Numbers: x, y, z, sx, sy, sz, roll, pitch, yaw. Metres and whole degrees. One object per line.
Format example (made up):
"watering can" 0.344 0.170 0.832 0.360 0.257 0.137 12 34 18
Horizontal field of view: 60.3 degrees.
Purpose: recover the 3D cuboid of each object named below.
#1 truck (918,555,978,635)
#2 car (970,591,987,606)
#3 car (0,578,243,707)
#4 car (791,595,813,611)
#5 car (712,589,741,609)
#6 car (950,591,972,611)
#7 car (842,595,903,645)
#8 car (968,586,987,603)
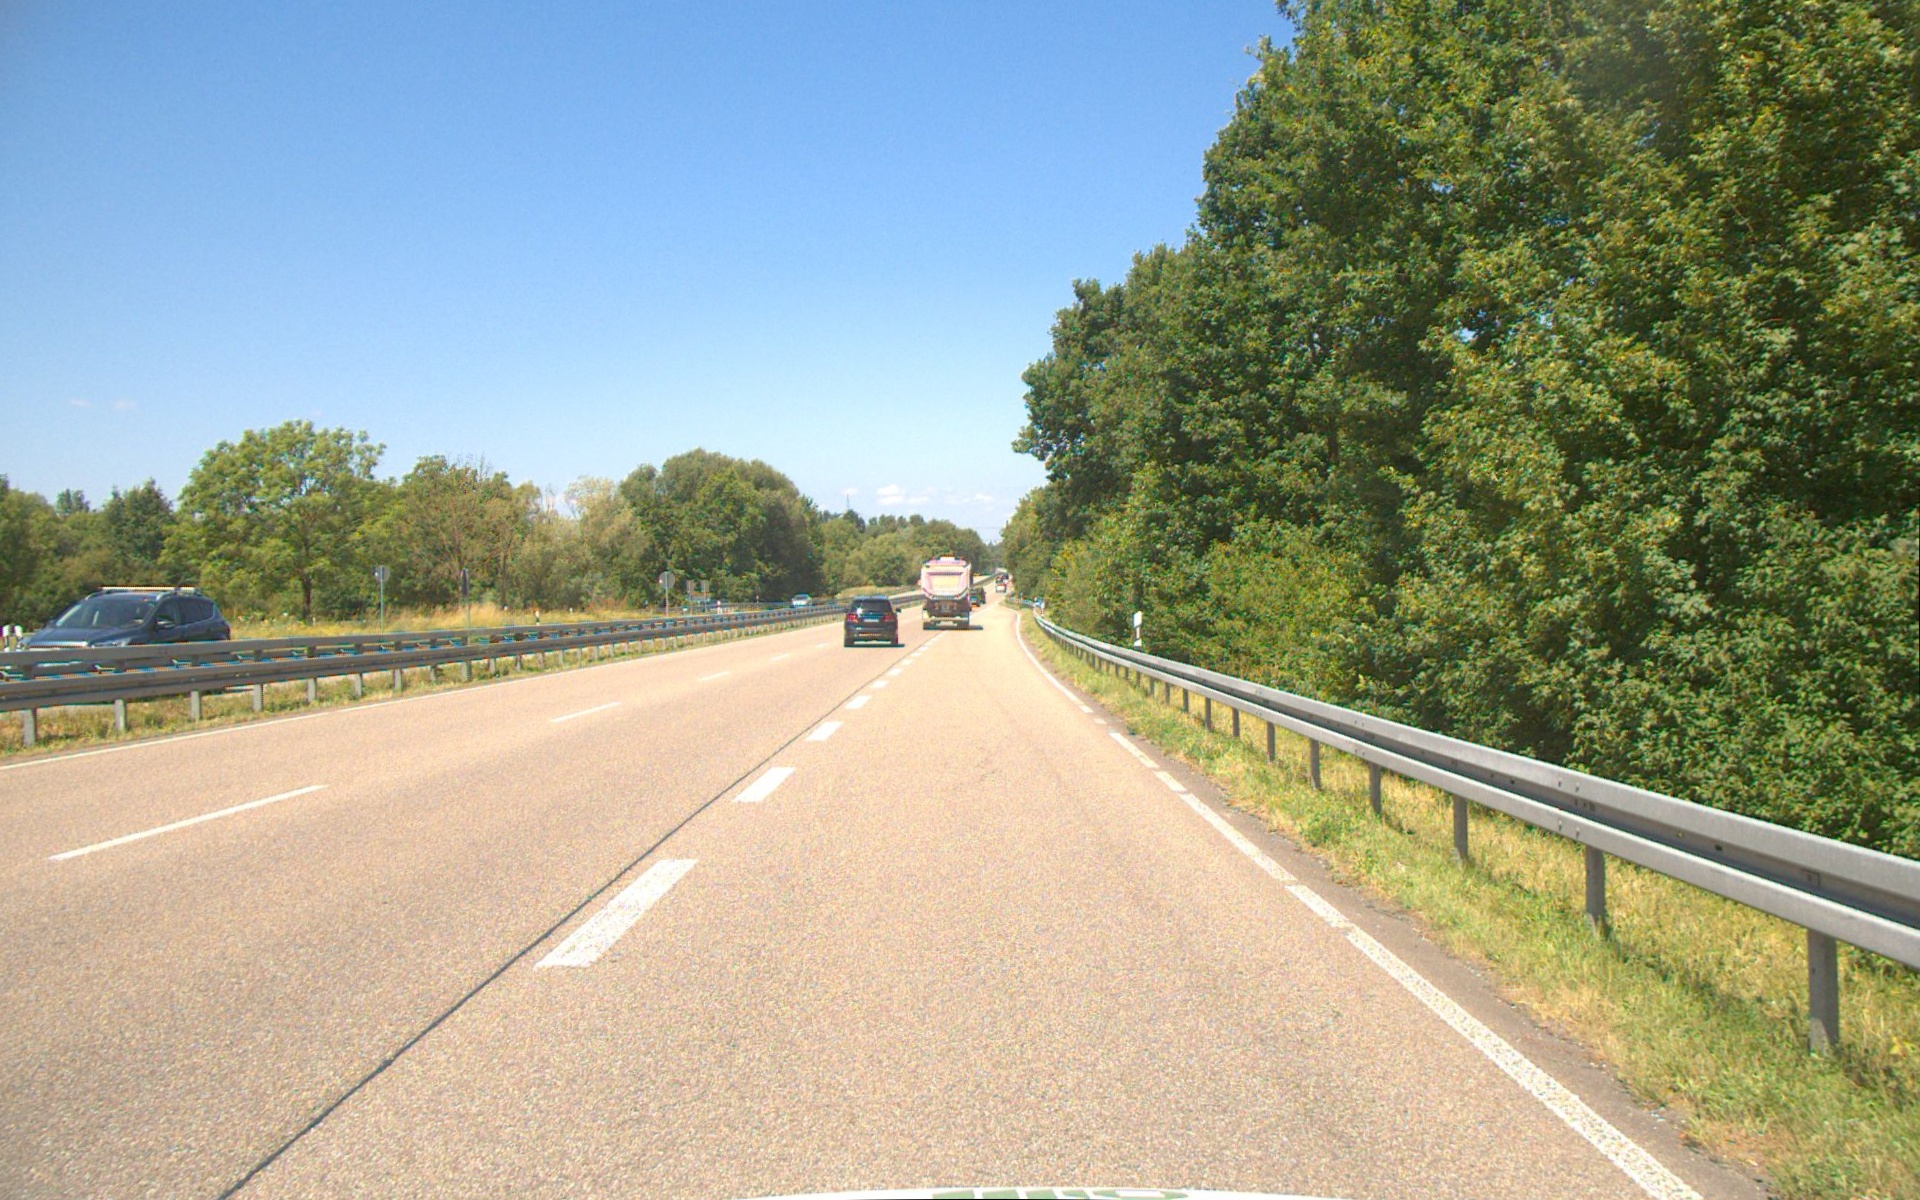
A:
"truck" -0.520 -0.407 89.855 2.663 3.998 12.375 -1 1 2
"car" 2.114 -0.193 187.580 1.819 1.700 4.001 0 0 2
"car" -13.388 0.627 26.337 1.824 1.862 4.661 0 0 2
"car" -16.149 0.294 169.218 1.688 1.673 4.944 0 0 2
"car" -17.846 -0.058 126.571 1.880 1.515 3.997 0 0 -3
"car" 0.090 0.075 145.774 1.819 1.700 4.001 0 0 2
"car" -3.076 0.698 58.729 1.819 1.700 4.001 0 0 2
"car" 1.747 -0.560 168.135 1.819 1.700 4.001 0 0 2
